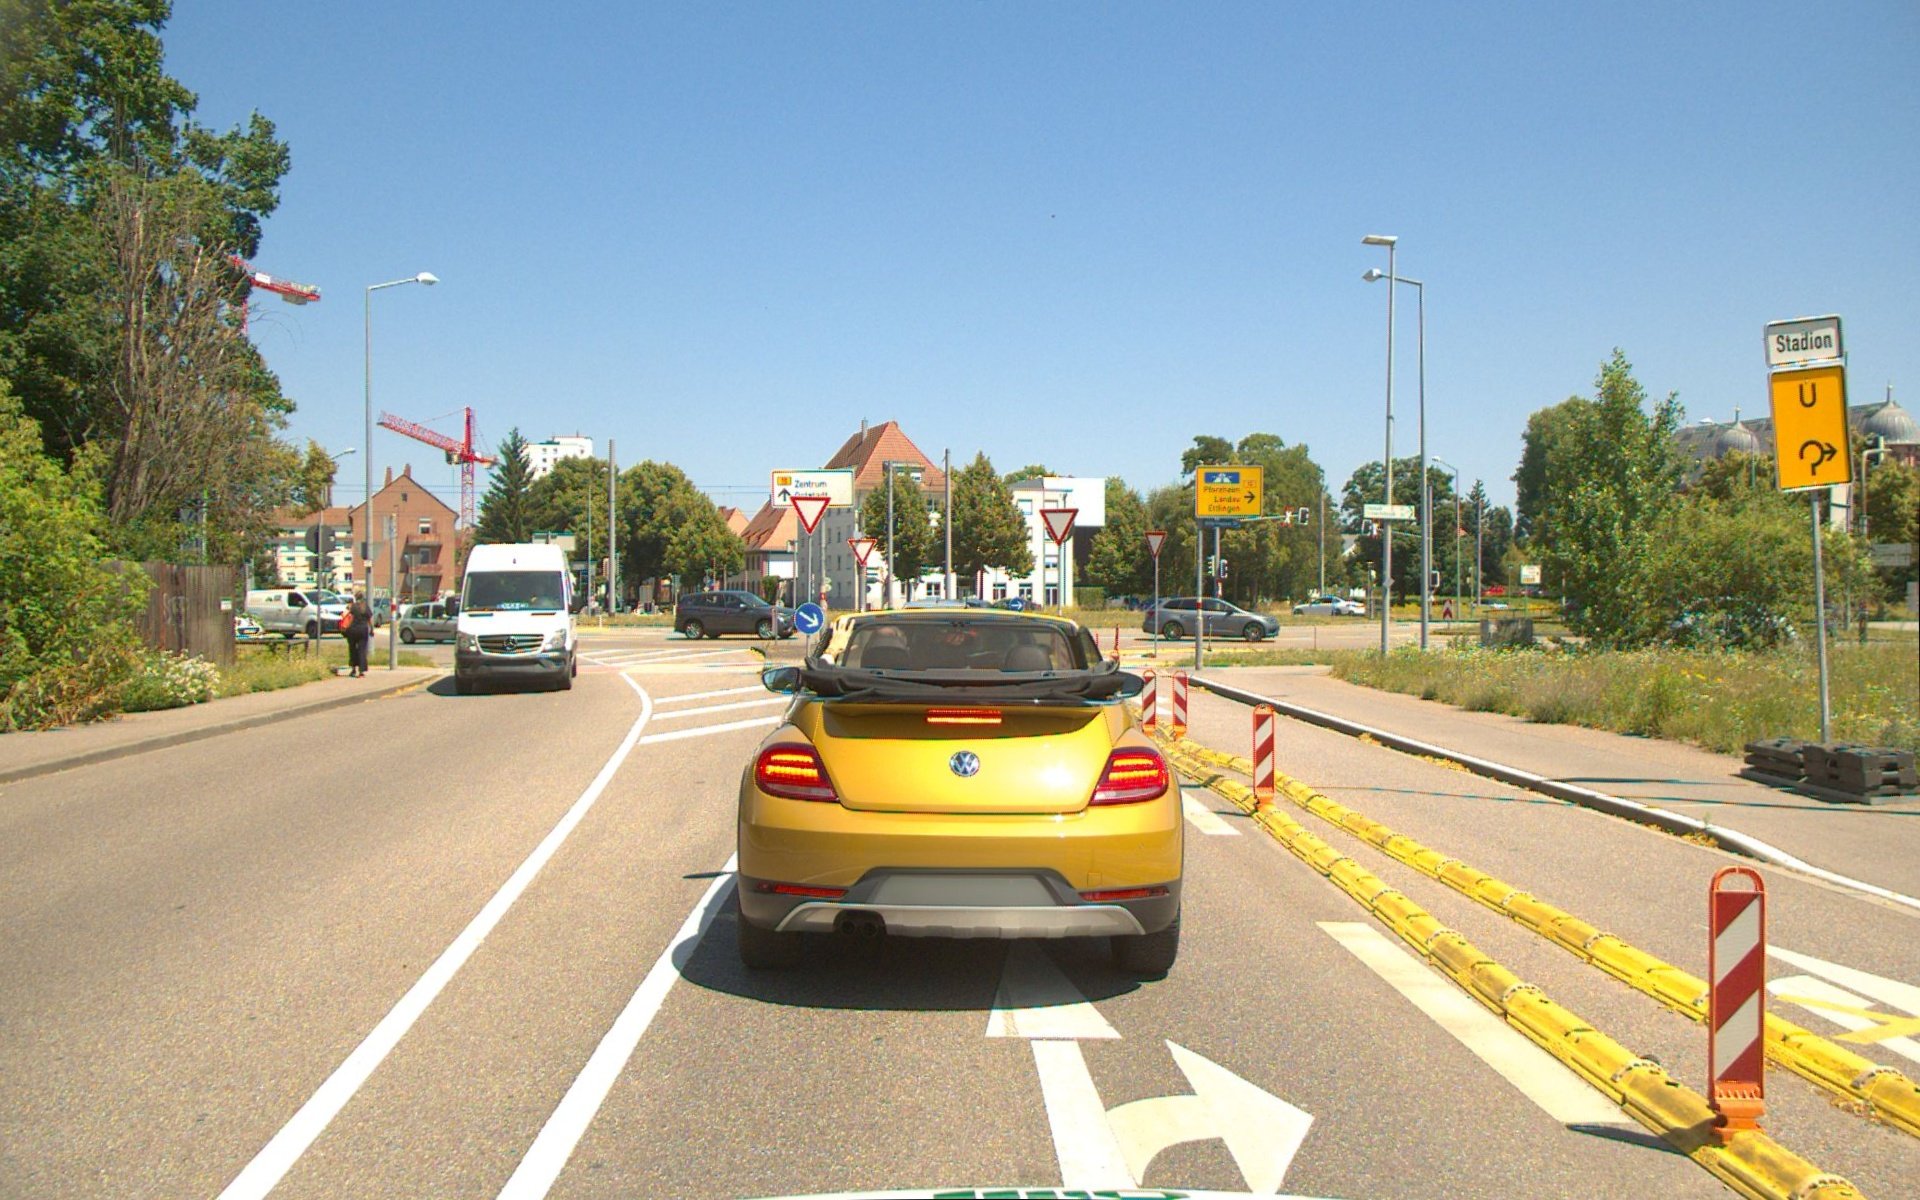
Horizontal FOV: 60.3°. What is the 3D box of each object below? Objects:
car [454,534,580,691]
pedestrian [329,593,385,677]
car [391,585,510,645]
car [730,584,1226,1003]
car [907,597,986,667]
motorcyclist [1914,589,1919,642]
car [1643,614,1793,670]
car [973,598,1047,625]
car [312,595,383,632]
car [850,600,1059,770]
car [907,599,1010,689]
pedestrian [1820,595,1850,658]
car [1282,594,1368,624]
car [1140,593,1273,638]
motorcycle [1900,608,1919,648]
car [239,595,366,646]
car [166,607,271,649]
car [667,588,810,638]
[{"bbox_3d":[-8.262,0.207,30.939,1.986,2.583,6.800,-1,0,-15],"label":"car"},{"bbox_3d":[-11.751,0.675,32.239,0.792,1.590,0.876,1,0,-5],"label":"pedestrian"},{"bbox_3d":[-16.974,0.518,55.055,3.592,1.882,1.632,-2,-1,24],"label":"car"},{"bbox_3d":[0.032,0.682,7.649,1.717,1.447,3.776,1,0,-1],"label":"car"},{"bbox_3d":[-0.326,0.709,37.985,1.701,1.503,3.999,1,0,-1],"label":"car"},{"bbox_3d":[24.046,0.396,40.910,0.606,1.312,0.576,1,-1,-30],"label":"motorcyclist"},{"bbox_3d":[22.771,1.233,49.820,3.903,1.579,1.741,1,0,18],"label":"car"},{"bbox_3d":[3.525,0.798,116.247,4.813,1.817,2.027,-1,0,20],"label":"car"},{"bbox_3d":[-27.191,0.600,73.526,1.720,1.576,3.999,1,0,-1],"label":"car"},{"bbox_3d":[-0.076,0.745,16.427,1.810,1.467,3.999,1,0,-1],"label":"car"},{"bbox_3d":[-0.048,0.739,29.429,1.701,1.467,3.999,1,0,-1],"label":"car"},{"bbox_3d":[22.510,0.677,42.570,0.487,1.590,0.514,1,0,-1],"label":"pedestrian"},{"bbox_3d":[23.292,0.576,105.663,2.011,1.817,5.096,-1,0,-44],"label":"car"},{"bbox_3d":[8.071,0.494,54.006,4.104,1.415,1.903,1,0,15],"label":"car"},{"bbox_3d":[24.021,0.688,40.863,1.685,0.987,0.625,1,0,-31],"label":"motorcycle"},{"bbox_3d":[-25.552,0.761,64.243,4.878,1.882,1.996,0,0,30],"label":"car"},{"bbox_3d":[-27.247,1.003,60.769,3.936,1.470,1.628,0,0,32],"label":"car"},{"bbox_3d":[-7.401,0.426,55.513,4.338,1.624,2.002,1,0,10],"label":"car"}]
